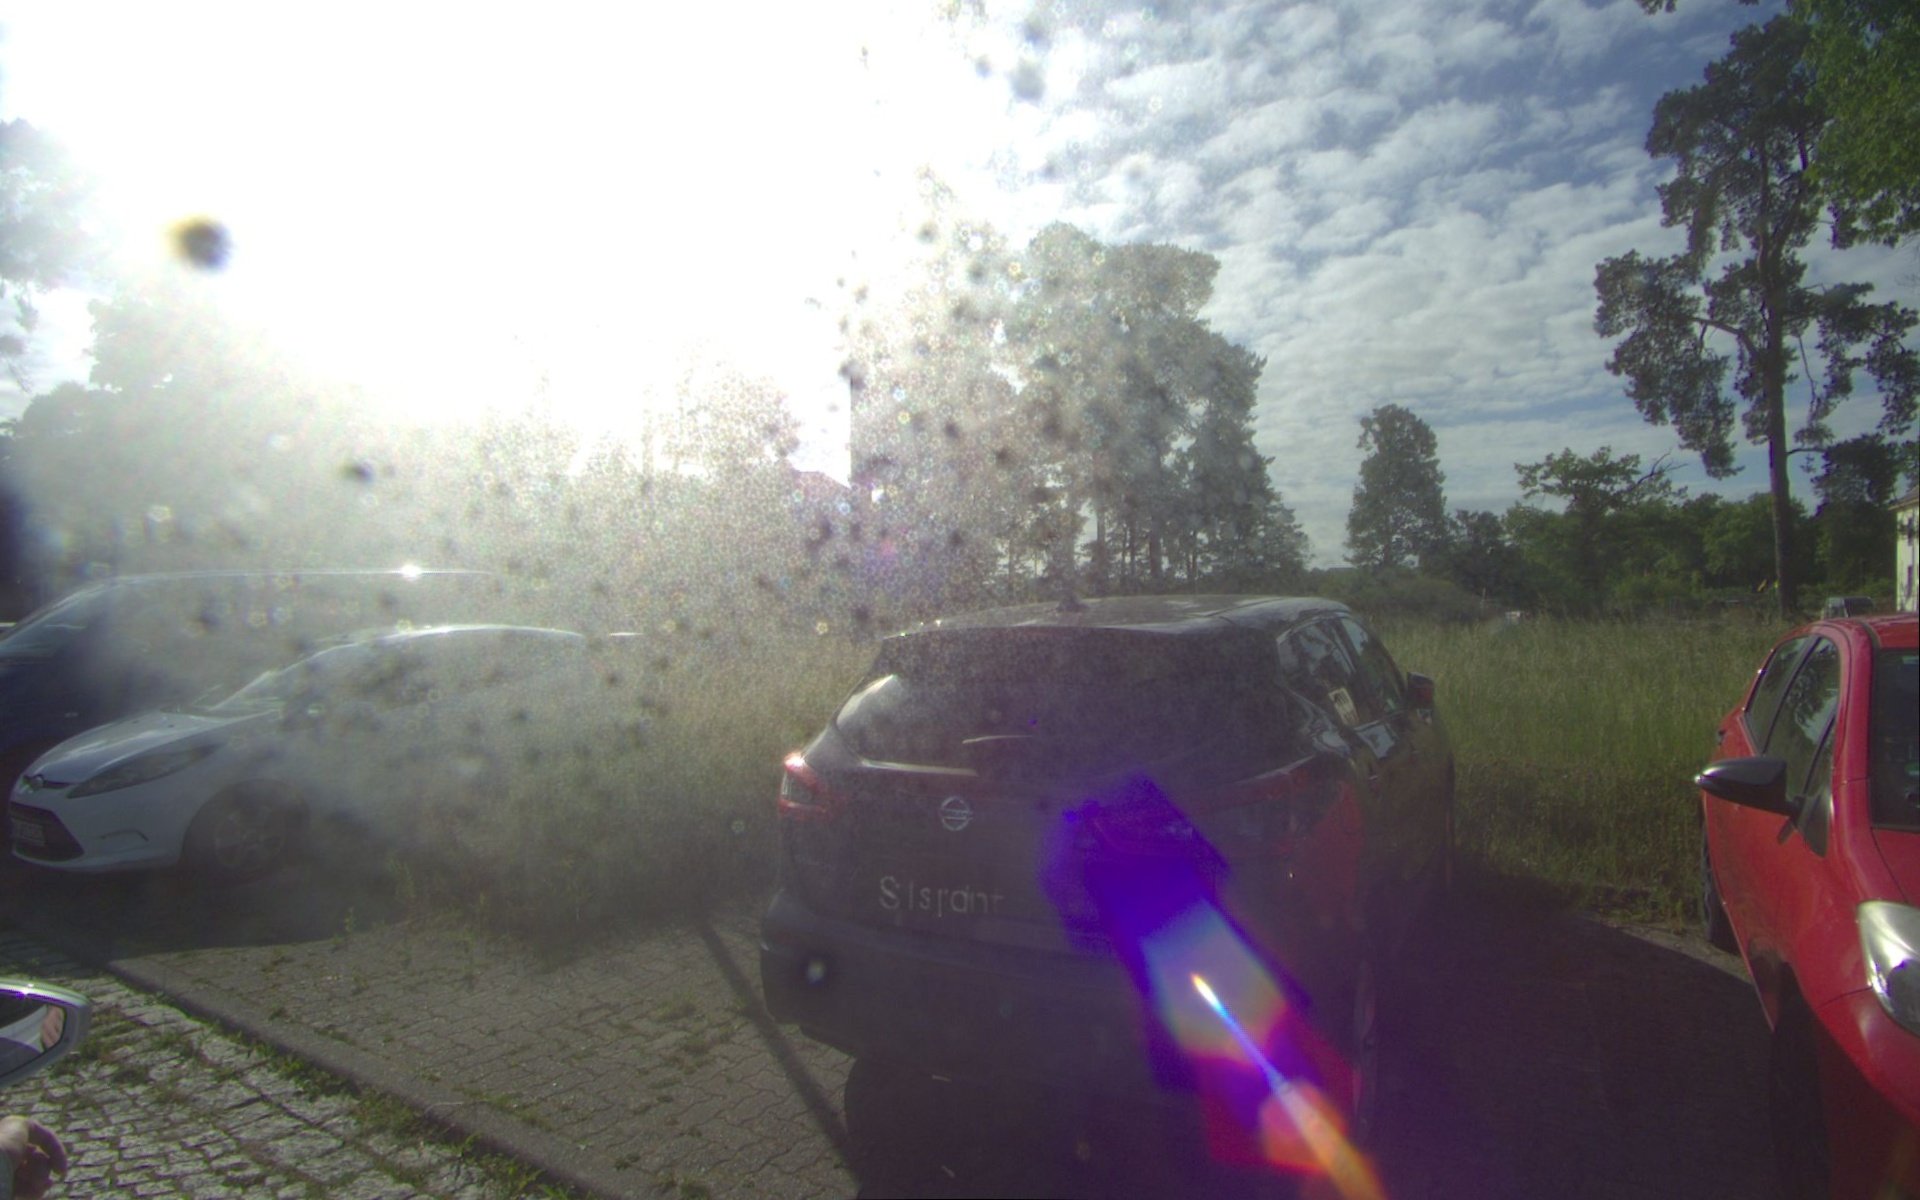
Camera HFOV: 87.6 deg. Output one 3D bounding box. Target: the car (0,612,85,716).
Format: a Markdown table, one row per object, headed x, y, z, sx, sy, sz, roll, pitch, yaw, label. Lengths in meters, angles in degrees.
| x | y | z | sx | sy | sz | roll | pitch | yaw | label |
| --- | --- | --- | --- | --- | --- | --- | --- | --- | --- |
| -15.532 | 0.968 | 14.889 | 1.621 | 1.549 | 3.472 | 0 | 0 | 31 | car |

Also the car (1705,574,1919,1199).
| x | y | z | sx | sy | sz | roll | pitch | yaw | label |
| --- | --- | --- | --- | --- | --- | --- | --- | --- | --- |
| 3.352 | 0.735 | 2.906 | 1.622 | 1.550 | 3.754 | 0 | 0 | 32 | car |

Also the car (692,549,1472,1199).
| x | y | z | sx | sy | sz | roll | pitch | yaw | label |
| --- | --- | --- | --- | --- | --- | --- | --- | --- | --- |
| 0.982 | 0.741 | 4.098 | 1.746 | 1.643 | 3.930 | 0 | 0 | 31 | car |

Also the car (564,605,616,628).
| x | y | z | sx | sy | sz | roll | pitch | yaw | label |
| --- | --- | --- | --- | --- | --- | --- | --- | --- | --- |
| -32.959 | 1.447 | 89.228 | 1.971 | 2.040 | 3.979 | 0 | 0 | 32 | car |

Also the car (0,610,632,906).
| x | y | z | sx | sy | sz | roll | pitch | yaw | label |
| --- | --- | --- | --- | --- | --- | --- | --- | --- | --- |
| -4.404 | 0.851 | 7.284 | 1.621 | 1.508 | 3.713 | 0 | 0 | 30 | car |

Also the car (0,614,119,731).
| x | y | z | sx | sy | sz | roll | pitch | yaw | label |
| --- | --- | --- | --- | --- | --- | --- | --- | --- | --- |
| -13.408 | 0.969 | 12.859 | 1.621 | 1.487 | 3.668 | 0 | 1 | 31 | car |

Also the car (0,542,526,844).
| x | y | z | sx | sy | sz | roll | pitch | yaw | label |
| --- | --- | --- | --- | --- | --- | --- | --- | --- | --- |
| -6.523 | 0.649 | 8.837 | 2.052 | 2.040 | 4.672 | 0 | 0 | 29 | car |

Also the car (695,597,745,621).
| x | y | z | sx | sy | sz | roll | pitch | yaw | label |
| --- | --- | --- | --- | --- | --- | --- | --- | --- | --- |
| -20.763 | 0.782 | 86.761 | 1.971 | 2.040 | 3.979 | 0 | 0 | 32 | car |

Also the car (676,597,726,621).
| x | y | z | sx | sy | sz | roll | pitch | yaw | label |
| --- | --- | --- | --- | --- | --- | --- | --- | --- | --- |
| -22.667 | 0.807 | 87.653 | 1.971 | 2.040 | 3.979 | 0 | 0 | 32 | car |

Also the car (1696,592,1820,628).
| x | y | z | sx | sy | sz | roll | pitch | yaw | label |
| --- | --- | --- | --- | --- | --- | --- | --- | --- | --- |
| 51.796 | 0.707 | 65.200 | 2.335 | 2.199 | 6.003 | 0 | -1 | -19 | car |

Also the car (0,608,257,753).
| x | y | z | sx | sy | sz | roll | pitch | yaw | label |
| --- | --- | --- | --- | --- | --- | --- | --- | --- | --- |
| -10.736 | 0.899 | 11.763 | 1.622 | 1.485 | 3.684 | 0 | 1 | 33 | car |
